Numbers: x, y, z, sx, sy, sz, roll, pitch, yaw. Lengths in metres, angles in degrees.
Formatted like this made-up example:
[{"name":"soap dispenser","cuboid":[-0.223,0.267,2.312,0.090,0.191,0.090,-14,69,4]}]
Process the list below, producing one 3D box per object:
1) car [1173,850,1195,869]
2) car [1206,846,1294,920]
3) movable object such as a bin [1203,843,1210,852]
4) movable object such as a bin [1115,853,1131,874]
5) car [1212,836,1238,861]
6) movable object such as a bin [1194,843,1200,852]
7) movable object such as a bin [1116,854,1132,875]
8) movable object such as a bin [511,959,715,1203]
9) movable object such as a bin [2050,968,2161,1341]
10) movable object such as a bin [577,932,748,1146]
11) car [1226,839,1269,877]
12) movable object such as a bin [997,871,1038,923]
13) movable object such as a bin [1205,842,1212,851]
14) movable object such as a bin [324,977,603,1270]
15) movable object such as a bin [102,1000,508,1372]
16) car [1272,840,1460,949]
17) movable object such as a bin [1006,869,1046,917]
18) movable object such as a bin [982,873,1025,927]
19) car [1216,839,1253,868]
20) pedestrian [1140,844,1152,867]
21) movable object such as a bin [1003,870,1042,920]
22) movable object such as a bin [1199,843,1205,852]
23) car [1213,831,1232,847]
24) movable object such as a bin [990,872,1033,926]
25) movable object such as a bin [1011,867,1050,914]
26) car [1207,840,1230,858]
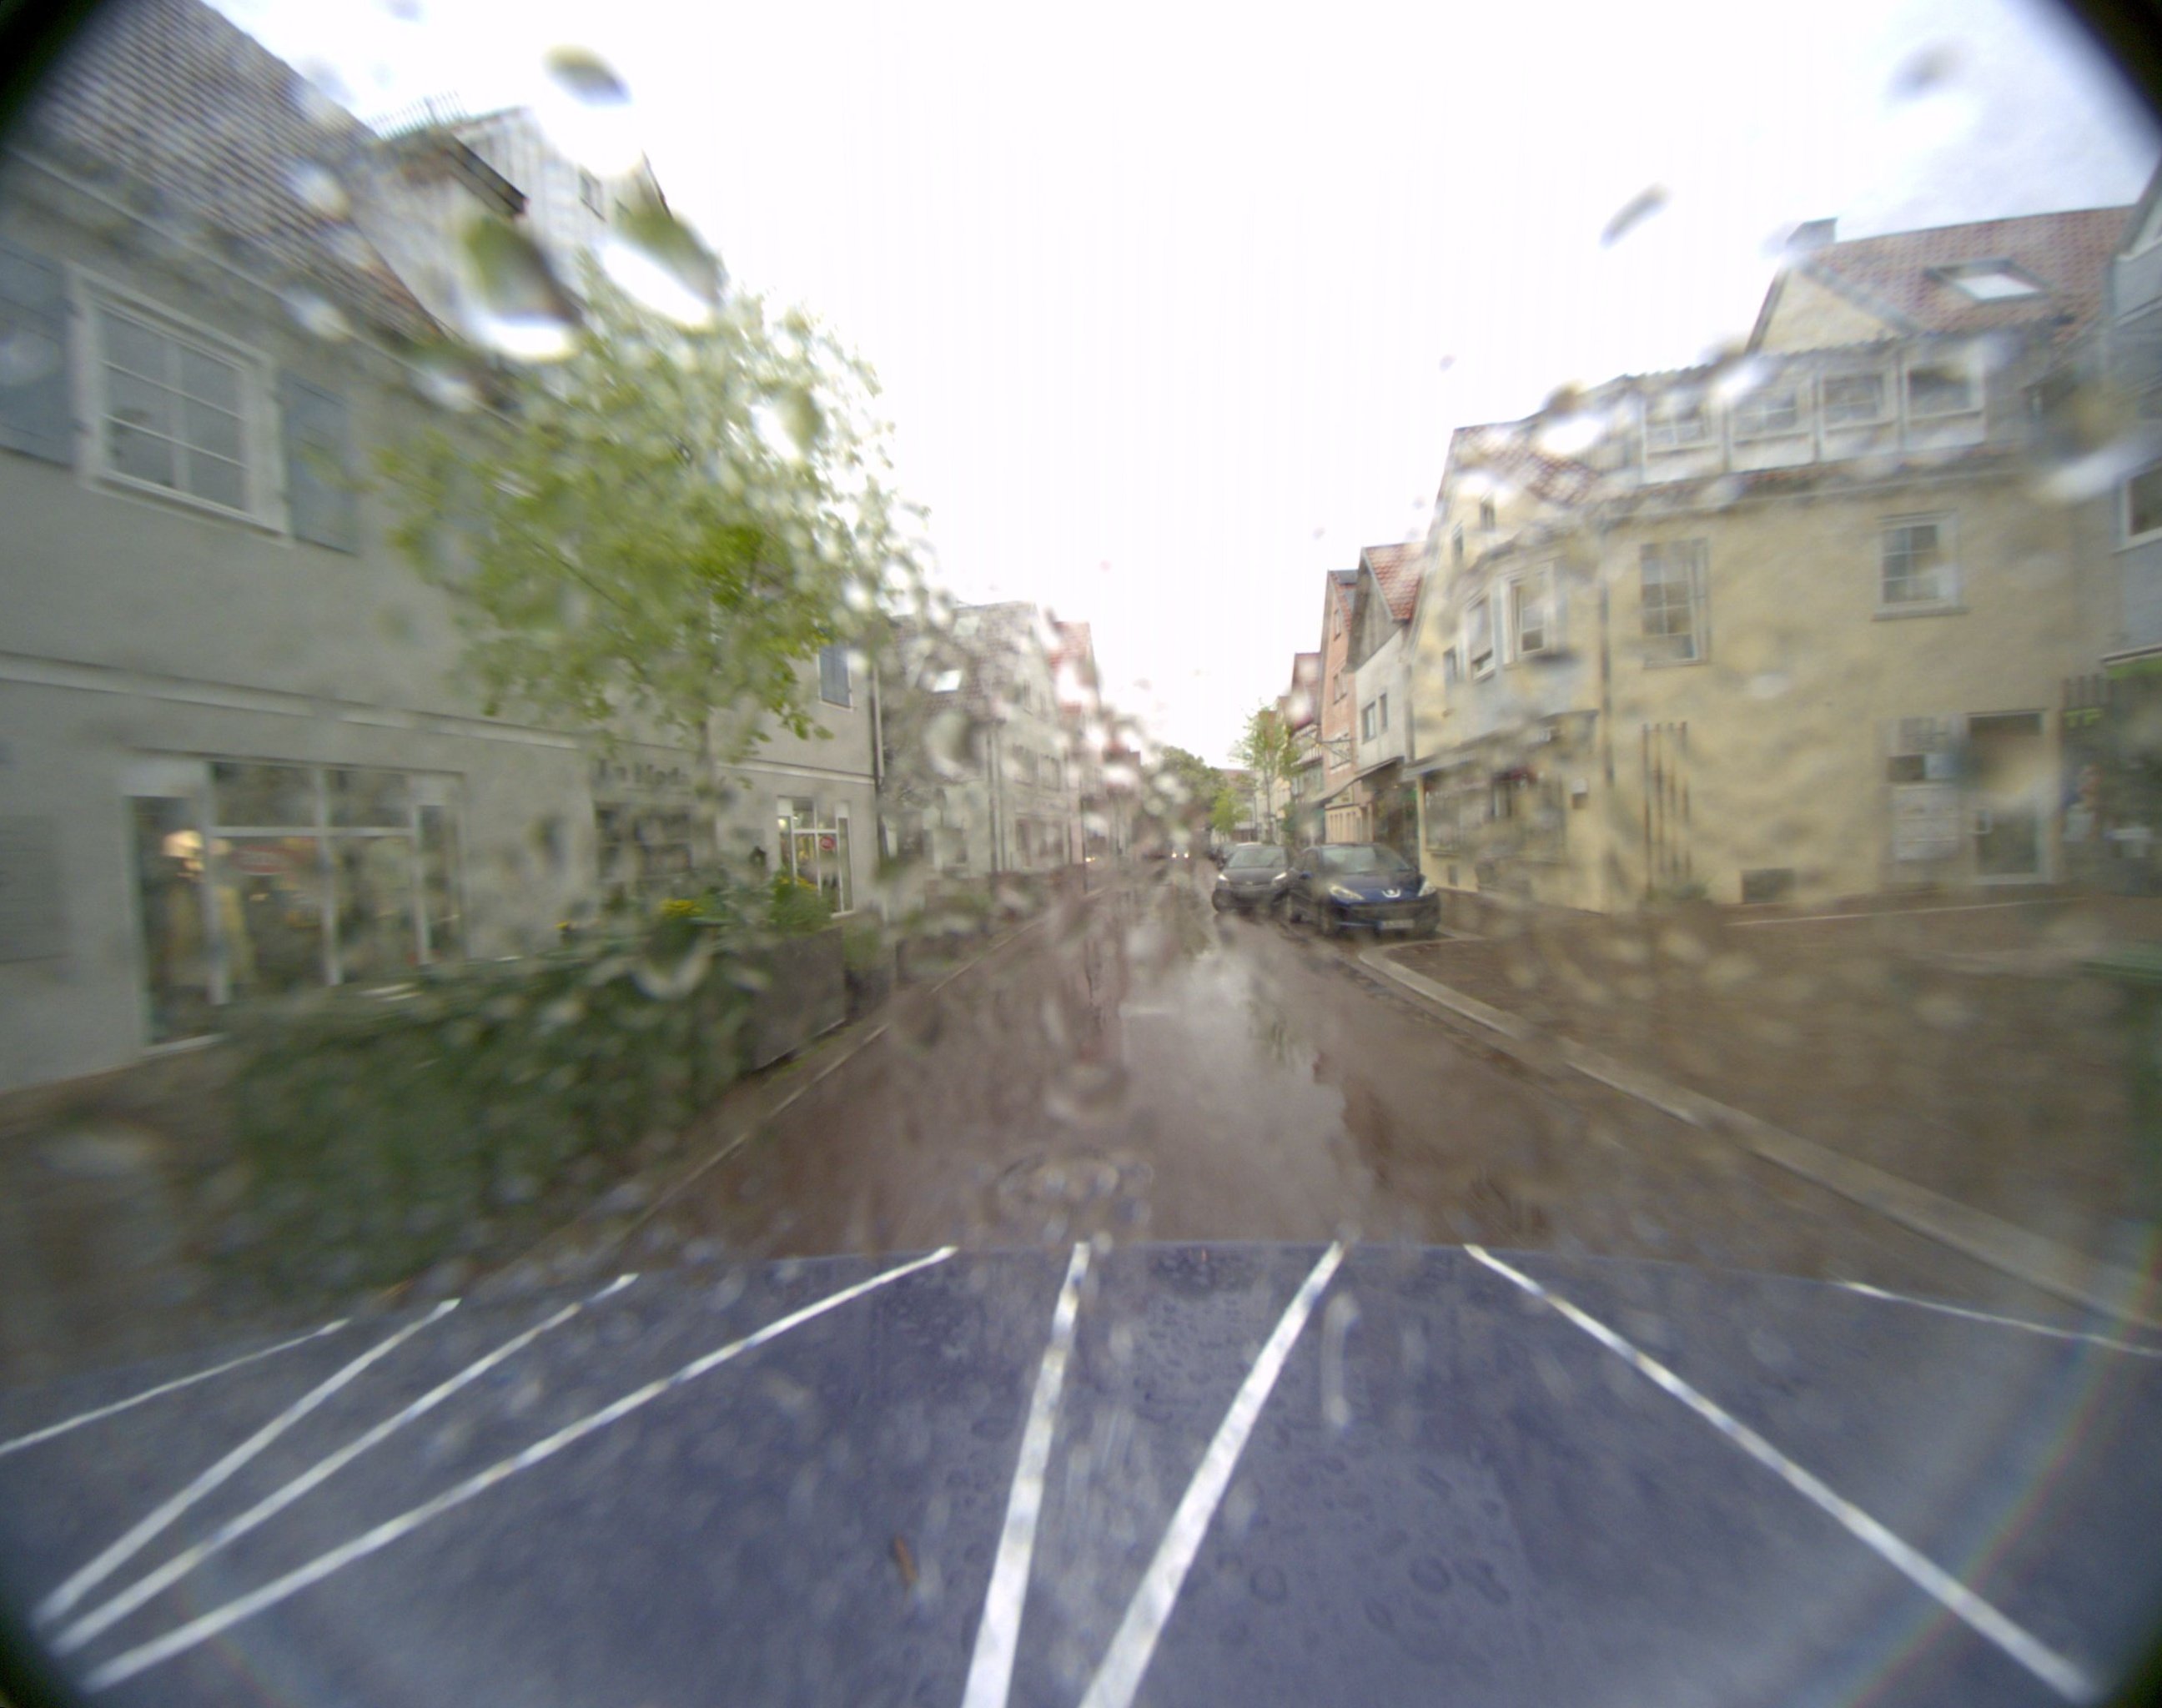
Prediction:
[{"name":"car","cuboid":[8.993,0.464,66.308,1.783,1.529,4.292,-4,0,8]},{"name":"car","cuboid":[3.856,0.595,17.787,1.695,1.435,3.887,-4,0,10]},{"name":"movable object such as a bin","cuboid":[16.495,-0.900,100.067,0.538,1.136,0.729,0,2,39]},{"name":"movable object such as a bin","cuboid":[2.198,0.497,39.831,0.797,1.074,0.583,-2,2,6]},{"name":"car","cuboid":[11.064,-0.453,58.429,1.827,1.657,4.644,-4,2,10]},{"name":"movable object such as a bin","cuboid":[15.422,-0.869,101.063,0.538,1.077,0.729,1,3,39]},{"name":"movable object such as a bin","cuboid":[2.277,0.566,40.446,0.794,1.074,0.615,-2,2,6]},{"name":"movable object such as a bin","cuboid":[-2.479,1.182,4.090,0.633,1.098,0.579,-4,3,2]},{"name":"movable object such as a bin","cuboid":[3.706,0.951,2.317,0.727,1.104,0.596,-4,3,1]},{"name":"movable object such as a bin","cuboid":[-2.569,1.114,4.726,0.633,1.144,0.579,-4,3,2]},{"name":"car","cuboid":[7.509,0.158,34.484,1.695,1.529,4.124,-4,0,11]},{"name":"movable object such as a bin","cuboid":[-1.433,0.964,17.193,0.737,1.092,0.611,-3,3,9]},{"name":"movable object such as a bin","cuboid":[16.753,-1.003,99.707,0.726,1.077,0.605,-2,3,33]},{"name":"movable object such as a bin","cuboid":[-2.743,1.175,3.440,0.678,1.097,0.579,-4,3,5]},{"name":"movable object such as a bin","cuboid":[-2.776,1.159,2.801,0.723,1.067,0.649,-4,2,5]},{"name":"car","cuboid":[4.601,0.590,12.939,1.760,1.465,3.944,-4,0,2]},{"name":"movable object such as a bin","cuboid":[-1.320,0.930,18.319,0.755,1.058,0.600,-4,3,10]},{"name":"movable object such as a bin","cuboid":[-1.630,0.957,16.011,0.755,1.084,0.656,-2,1,6]},{"name":"car","cuboid":[9.012,-0.036,44.926,1.783,1.529,4.292,-4,0,8]},{"name":"pedestrian","cuboid":[5.028,0.128,58.938,0.789,1.672,1.177,-4,2,8]},{"name":"movable object such as a bin","cuboid":[-1.355,0.952,17.733,0.730,1.085,0.521,-4,3,9]},{"name":"movable object such as a bin","cuboid":[15.998,-0.894,100.478,0.538,1.124,0.729,0,2,39]},{"name":"car","cuboid":[15.033,-1.595,80.513,1.865,1.515,4.331,-4,0,11]},{"name":"movable object such as a bin","cuboid":[-1.512,0.982,16.595,0.737,1.092,0.611,-3,3,9]},{"name":"movable object such as a bin","cuboid":[-1.246,0.908,18.929,0.769,1.073,0.599,-4,3,10]},{"name":"car","cuboid":[12.566,-0.483,69.309,1.865,1.515,4.331,-4,0,11]}]
